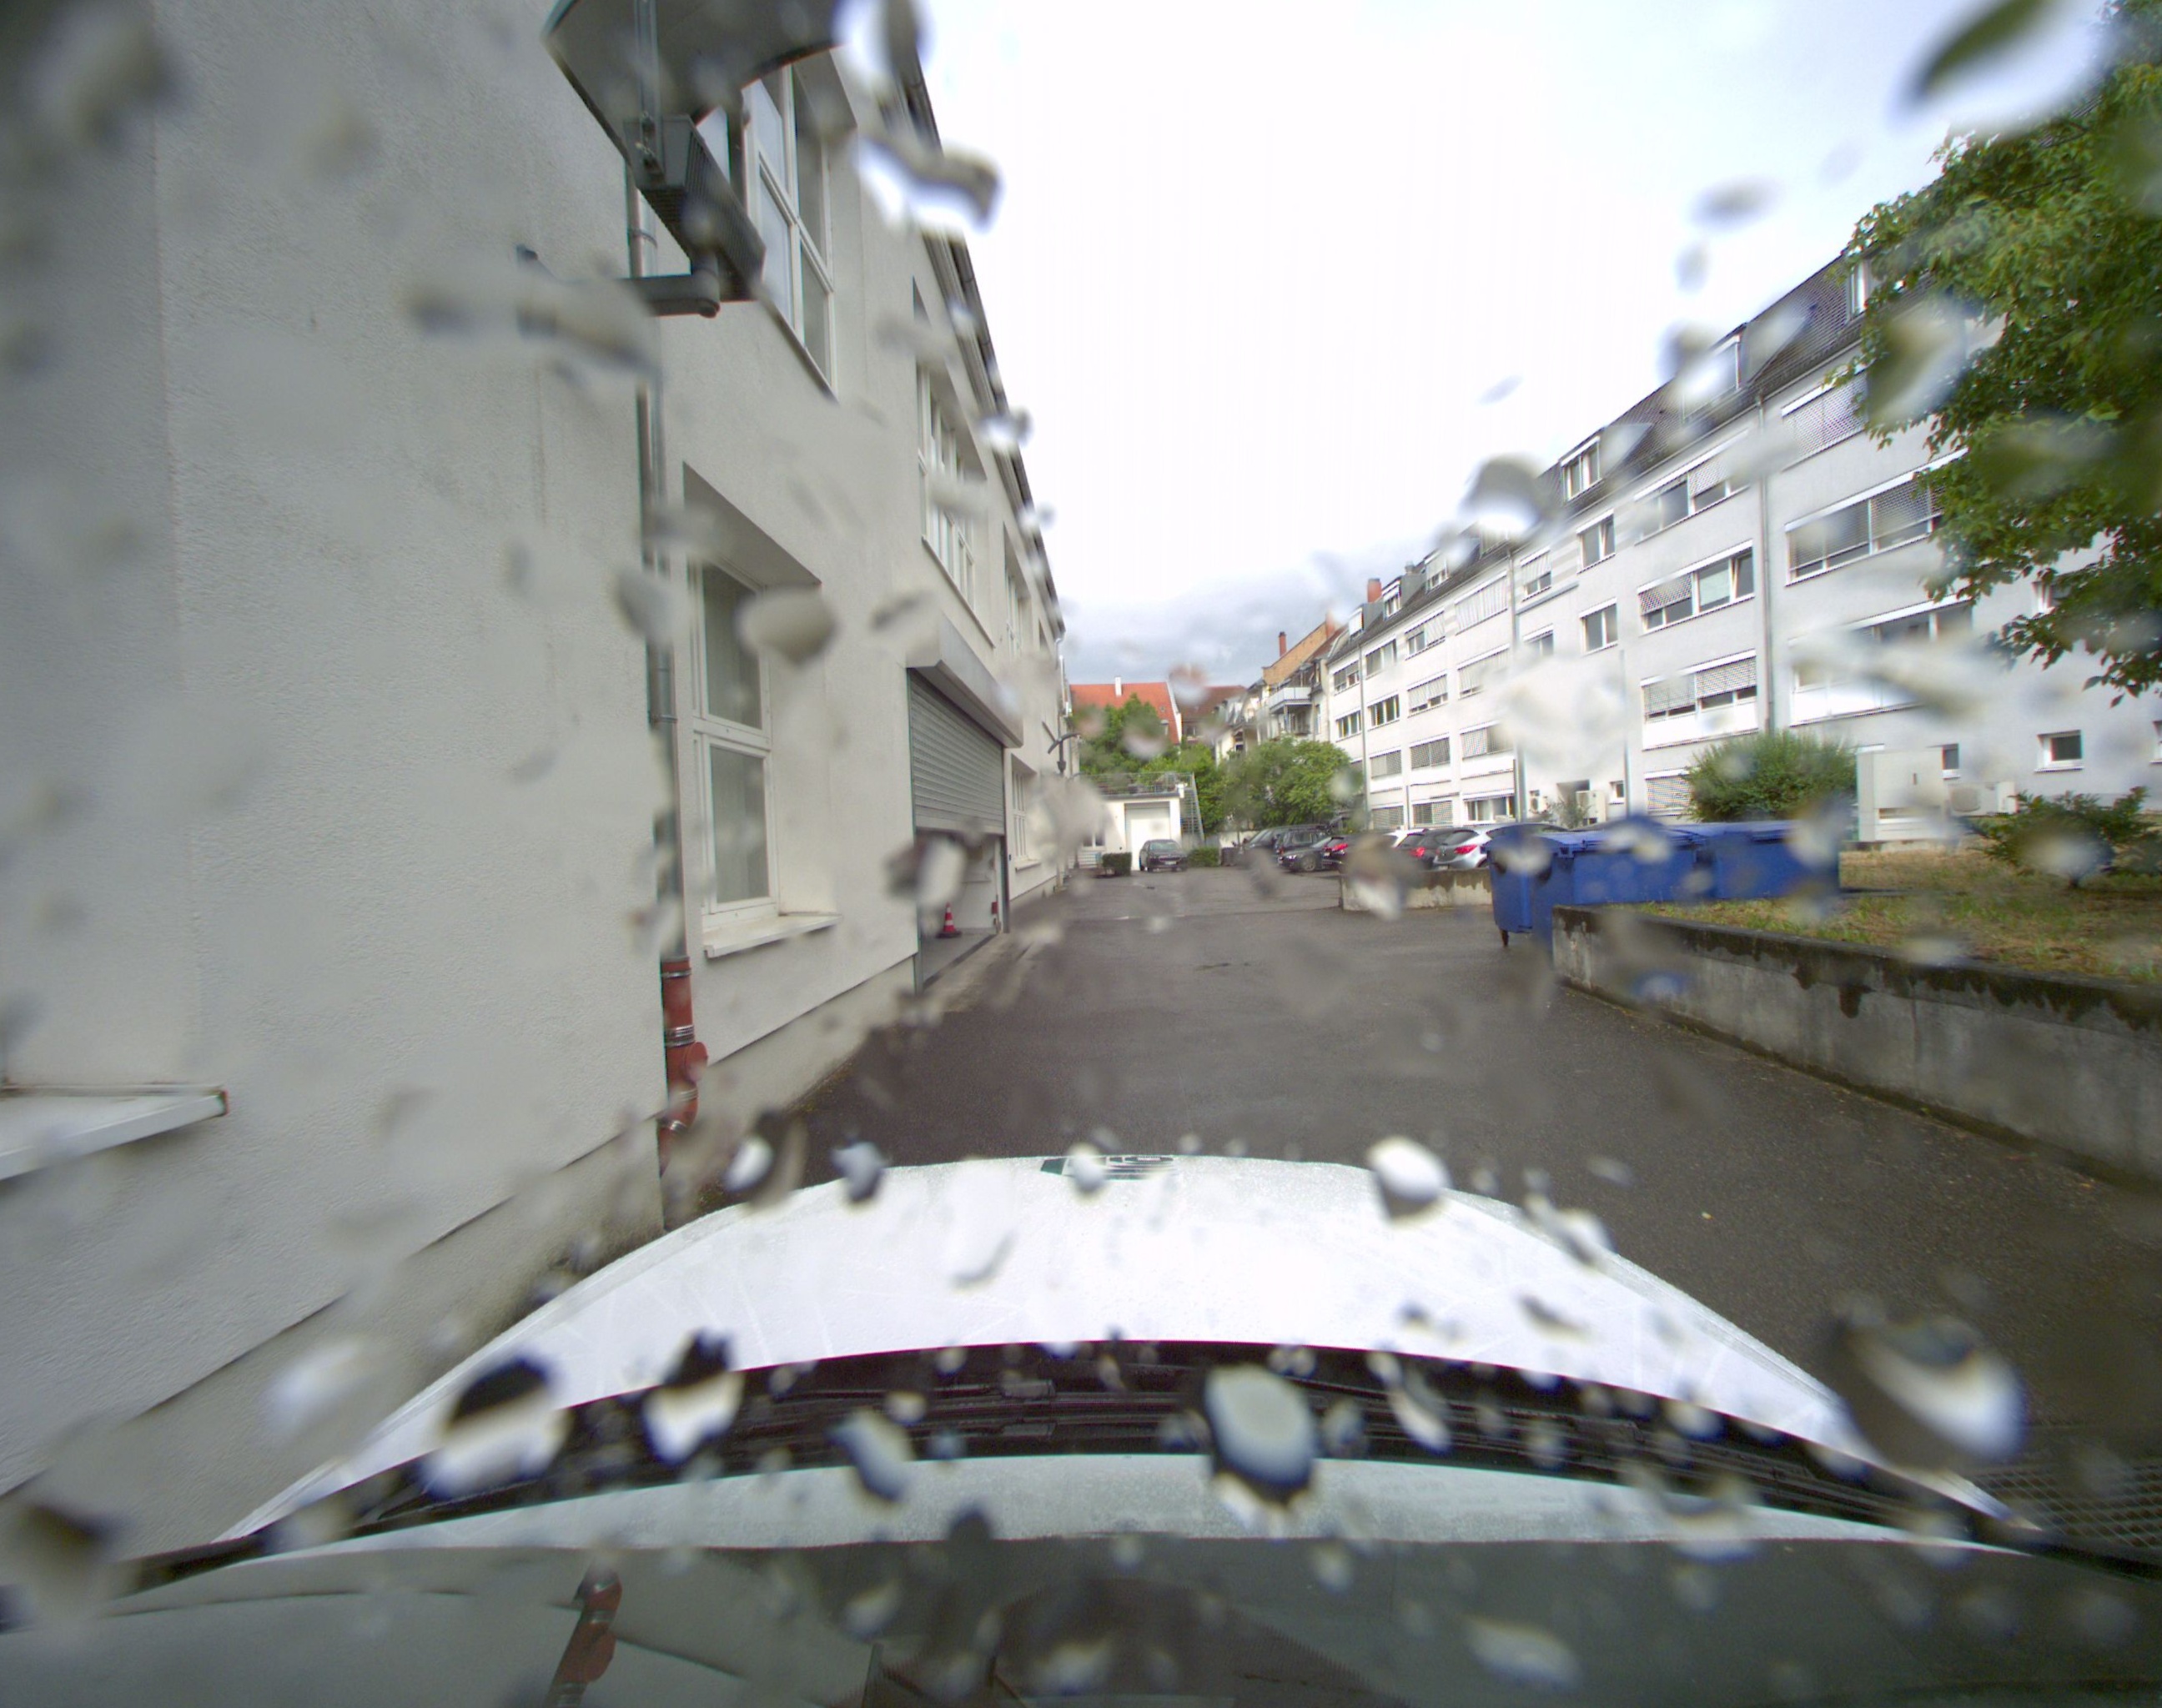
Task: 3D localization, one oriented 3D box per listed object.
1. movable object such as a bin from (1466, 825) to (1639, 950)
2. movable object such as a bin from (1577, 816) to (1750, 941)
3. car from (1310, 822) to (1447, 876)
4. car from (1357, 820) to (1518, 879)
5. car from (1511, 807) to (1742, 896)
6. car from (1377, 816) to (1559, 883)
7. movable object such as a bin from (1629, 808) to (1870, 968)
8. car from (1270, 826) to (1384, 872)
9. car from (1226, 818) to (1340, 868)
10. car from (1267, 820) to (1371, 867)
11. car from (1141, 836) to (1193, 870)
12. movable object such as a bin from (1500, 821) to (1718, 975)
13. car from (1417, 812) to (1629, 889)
[{"bbox_3d":[5.459,0.362,9.541,1.366,1.304,1.084,-4,0,4],"label":"movable object such as a bin"},{"bbox_3d":[6.752,0.267,9.522,1.180,1.304,1.108,-4,0,3],"label":"movable object such as a bin"},{"bbox_3d":[10.041,-0.168,27.647,3.903,1.513,1.816,-4,0,-5],"label":"car"},{"bbox_3d":[10.523,-0.135,24.225,3.978,1.458,1.771,-4,0,-4],"label":"car"},{"bbox_3d":[10.714,-0.051,16.176,3.405,1.426,1.688,-5,0,-1],"label":"car"},{"bbox_3d":[10.251,-0.128,21.739,3.978,1.402,1.771,-5,1,-3],"label":"car"},{"bbox_3d":[6.309,0.296,7.798,1.287,1.336,1.198,-4,0,4],"label":"movable object such as a bin"},{"bbox_3d":[9.656,-0.208,32.147,3.900,1.513,1.750,-4,0,-3],"label":"car"},{"bbox_3d":[9.432,-0.528,38.216,4.633,2.003,2.219,-4,1,-9],"label":"car"},{"bbox_3d":[10.299,-0.456,35.420,3.896,1.687,1.817,-4,0,0],"label":"car"},{"bbox_3d":[3.927,-0.086,37.947,1.973,1.444,4.000,-2,1,0],"label":"car"},{"bbox_3d":[4.966,0.389,7.785,1.331,1.292,1.097,-4,0,4],"label":"movable object such as a bin"},{"bbox_3d":[10.311,-0.082,19.206,3.976,1.445,1.806,-4,1,-1],"label":"car"}]
